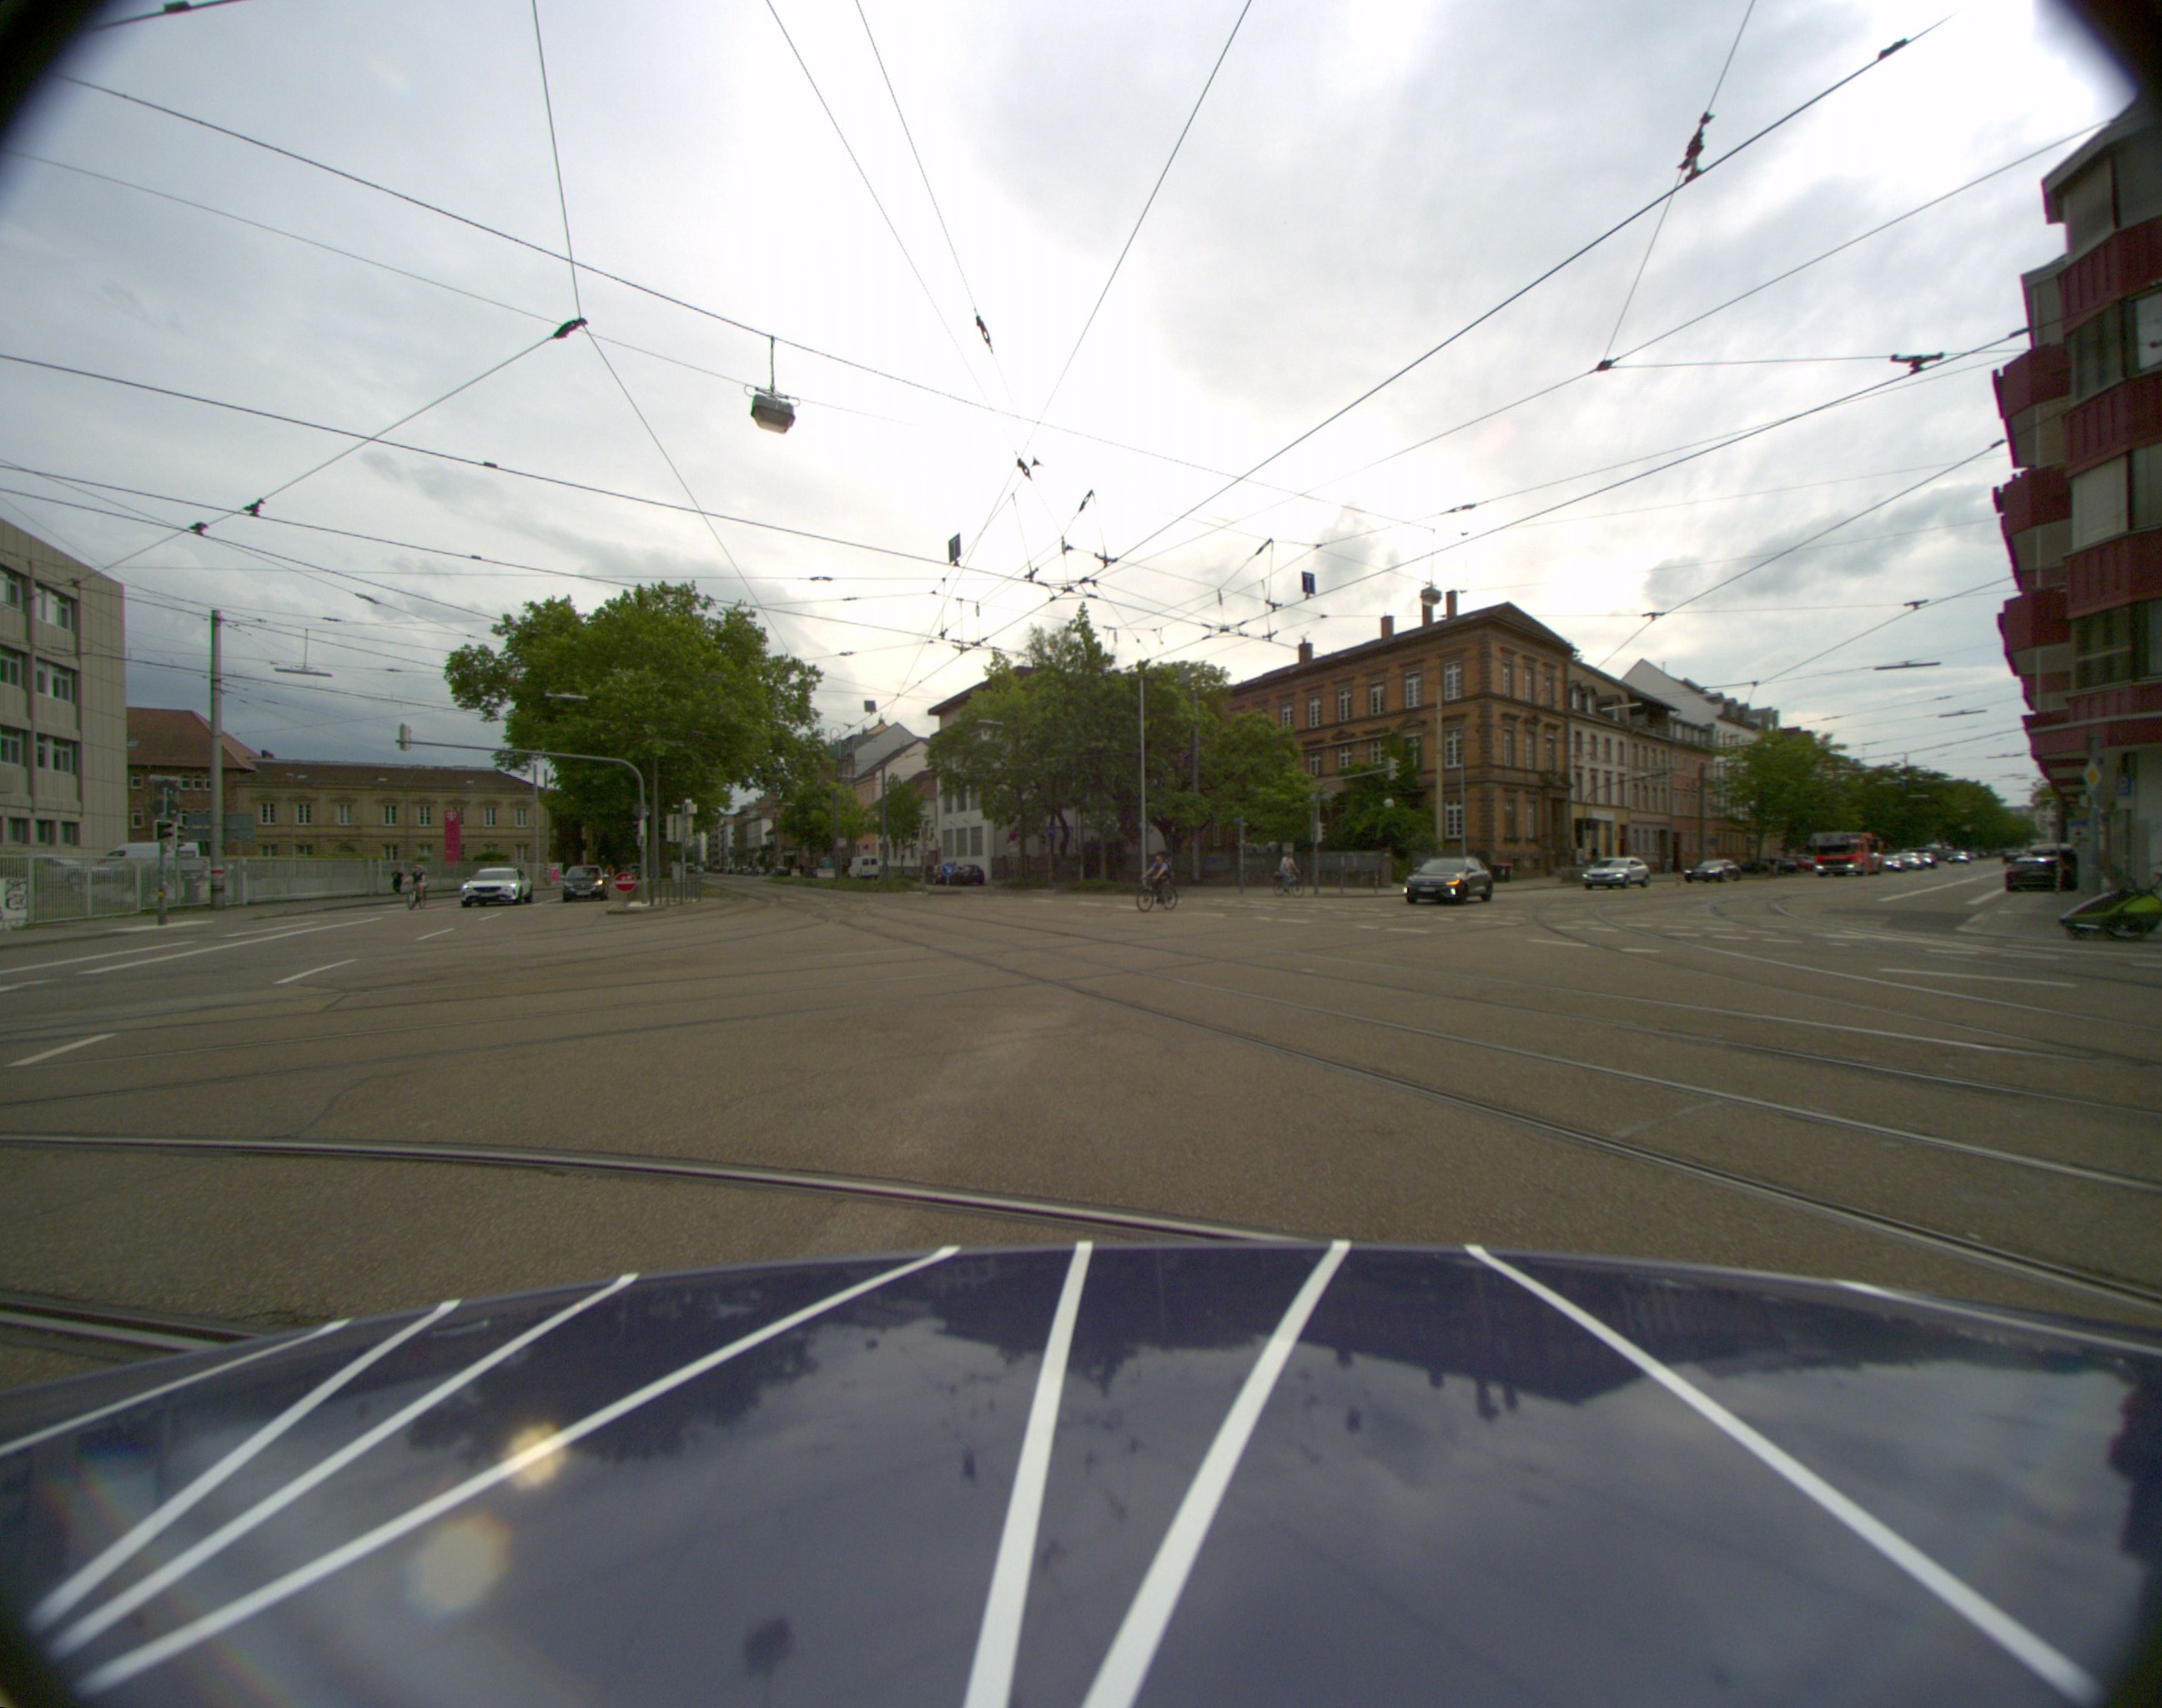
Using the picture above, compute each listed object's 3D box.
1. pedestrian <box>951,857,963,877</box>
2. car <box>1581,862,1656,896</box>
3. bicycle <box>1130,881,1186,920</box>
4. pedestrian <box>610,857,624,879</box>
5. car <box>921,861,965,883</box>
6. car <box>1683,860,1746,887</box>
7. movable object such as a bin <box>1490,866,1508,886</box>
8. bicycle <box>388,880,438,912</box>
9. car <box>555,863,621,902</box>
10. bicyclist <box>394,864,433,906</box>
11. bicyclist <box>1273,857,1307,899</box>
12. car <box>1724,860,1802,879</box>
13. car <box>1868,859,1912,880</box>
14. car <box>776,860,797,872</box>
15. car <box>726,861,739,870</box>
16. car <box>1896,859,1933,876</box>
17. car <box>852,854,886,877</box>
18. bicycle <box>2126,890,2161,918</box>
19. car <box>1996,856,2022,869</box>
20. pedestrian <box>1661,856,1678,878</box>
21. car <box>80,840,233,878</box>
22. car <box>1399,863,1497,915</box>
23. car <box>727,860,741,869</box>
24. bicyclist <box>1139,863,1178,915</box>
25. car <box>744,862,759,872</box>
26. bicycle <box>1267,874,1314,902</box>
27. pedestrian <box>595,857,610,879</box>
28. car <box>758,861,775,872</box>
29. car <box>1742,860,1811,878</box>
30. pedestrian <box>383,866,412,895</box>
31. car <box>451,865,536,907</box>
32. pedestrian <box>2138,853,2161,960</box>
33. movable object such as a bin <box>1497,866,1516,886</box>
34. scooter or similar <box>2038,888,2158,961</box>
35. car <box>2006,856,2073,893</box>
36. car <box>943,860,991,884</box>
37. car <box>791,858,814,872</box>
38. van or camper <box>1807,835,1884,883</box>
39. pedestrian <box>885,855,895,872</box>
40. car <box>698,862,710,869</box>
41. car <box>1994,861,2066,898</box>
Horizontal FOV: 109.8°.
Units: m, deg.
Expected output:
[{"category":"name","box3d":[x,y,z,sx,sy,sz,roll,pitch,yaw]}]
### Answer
[{"category":"pedestrian","box3d":[-10.411,1.107,63.671,0.770,1.641,0.764,-1,1,-29]},{"category":"car","box3d":[27.443,1.259,38.751,4.290,1.581,1.770,0,-1,-35]},{"category":"bicycle","box3d":[2.331,1.376,22.762,0.713,1.012,1.804,1,1,43]},{"category":"pedestrian","box3d":[-40.209,1.230,65.835,0.837,1.854,1.249,0,0,-20]},{"category":"car","box3d":[-10.307,1.291,56.482,1.763,1.527,4.410,0,0,-30]},{"category":"car","box3d":[38.918,1.182,46.684,4.055,1.526,1.770,0,-1,-32]},{"category":"movable object such as a bin","box3d":[23.986,1.282,43.584,0.679,1.077,0.650,-2,5,-40]},{"category":"bicycle","box3d":[-25.717,1.584,29.306,0.804,1.080,2.556,0,0,-27]},{"category":"car","box3d":[-21.370,1.180,33.121,1.839,1.557,4.411,0,0,-26]},{"category":"bicyclist","box3d":[-25.729,1.184,29.321,0.804,1.541,1.326,0,1,-27]},{"category":"bicyclist","box3d":[8.991,1.021,32.757,0.749,1.750,1.250,-1,1,-30]},{"category":"car","box3d":[58.278,1.276,65.030,4.615,1.464,1.793,2,1,30]},{"category":"car","box3d":[68.356,1.302,64.190,4.060,1.698,1.995,0,1,-35]},{"category":"car","box3d":[-42.912,1.724,110.668,2.101,1.797,4.410,0,0,-31]},{"category":"car","box3d":[-74.632,2.509,162.797,2.101,1.855,4.410,0,0,-29]},{"category":"car","box3d":[77.195,1.214,70.339,4.008,1.478,1.907,0,1,-37]},{"category":"car","box3d":[-20.611,1.075,73.648,2.101,2.177,4.410,0,0,-31]},{"category":"bicycle","box3d":[40.762,1.903,29.157,1.653,0.948,0.564,0,1,-43]},{"category":"car","box3d":[120.251,1.082,98.463,4.056,1.528,1.770,0,-1,-35]},{"category":"pedestrian","box3d":[47.404,1.044,61.209,0.928,1.679,0.730,0,4,-36]},{"category":"car","box3d":[-61.046,0.339,50.392,5.910,2.385,2.562,0,0,-33]},{"category":"car","box3d":[12.478,1.118,25.686,1.769,1.538,4.291,1,0,43]},{"category":"car","box3d":[-69.480,2.099,152.224,2.101,1.855,4.410,0,0,-30]},{"category":"bicyclist","box3d":[2.323,1.029,22.743,0.714,1.499,0.920,1,2,43]},{"category":"car","box3d":[-61.516,2.380,141.734,2.101,1.797,4.410,0,0,-31]},{"category":"bicycle","box3d":[8.999,1.449,32.739,0.752,1.080,2.011,0,0,-30]},{"category":"pedestrian","box3d":[-41.205,1.201,65.478,0.837,1.854,1.174,0,0,-20]},{"category":"car","box3d":[-54.564,2.205,131.898,2.101,1.797,4.410,0,0,-31]},{"category":"car","box3d":[63.526,1.318,69.506,4.333,1.472,1.793,2,1,30]},{"category":"pedestrian","box3d":[-37.780,1.436,42.017,0.885,1.560,0.978,0,1,-24]},{"category":"car","box3d":[-23.333,1.211,30.353,2.003,1.496,4.410,0,0,-28]},{"category":"pedestrian","box3d":[17.936,0.844,12.283,0.814,1.733,0.948,-1,1,-38]},{"category":"movable object such as a bin","box3d":[24.607,1.284,43.946,0.702,1.077,0.663,-1,5,-40]},{"category":"scooter or similar","box3d":[17.362,1.171,12.997,0.948,1.122,1.196,0,0,-37]},{"category":"car","box3d":[46.413,0.962,36.762,4.707,1.637,1.808,0,-2,-36]},{"category":"car","box3d":[-7.926,1.221,52.395,1.739,1.552,4.410,0,0,-30]},{"category":"car","box3d":[-37.241,1.474,101.516,2.101,1.797,4.410,0,0,-31]},{"category":"van or camper","box3d":[57.689,0.345,57.237,9.671,3.401,2.602,0,0,-36]},{"category":"pedestrian","box3d":[-19.906,0.984,79.204,0.770,1.771,0.764,-1,1,-30]},{"category":"car","box3d":[-86.134,2.730,173.494,1.850,1.482,3.739,-1,-1,-34]},{"category":"car","box3d":[41.644,1.098,33.316,4.707,1.471,1.756,0,-2,-36]}]
